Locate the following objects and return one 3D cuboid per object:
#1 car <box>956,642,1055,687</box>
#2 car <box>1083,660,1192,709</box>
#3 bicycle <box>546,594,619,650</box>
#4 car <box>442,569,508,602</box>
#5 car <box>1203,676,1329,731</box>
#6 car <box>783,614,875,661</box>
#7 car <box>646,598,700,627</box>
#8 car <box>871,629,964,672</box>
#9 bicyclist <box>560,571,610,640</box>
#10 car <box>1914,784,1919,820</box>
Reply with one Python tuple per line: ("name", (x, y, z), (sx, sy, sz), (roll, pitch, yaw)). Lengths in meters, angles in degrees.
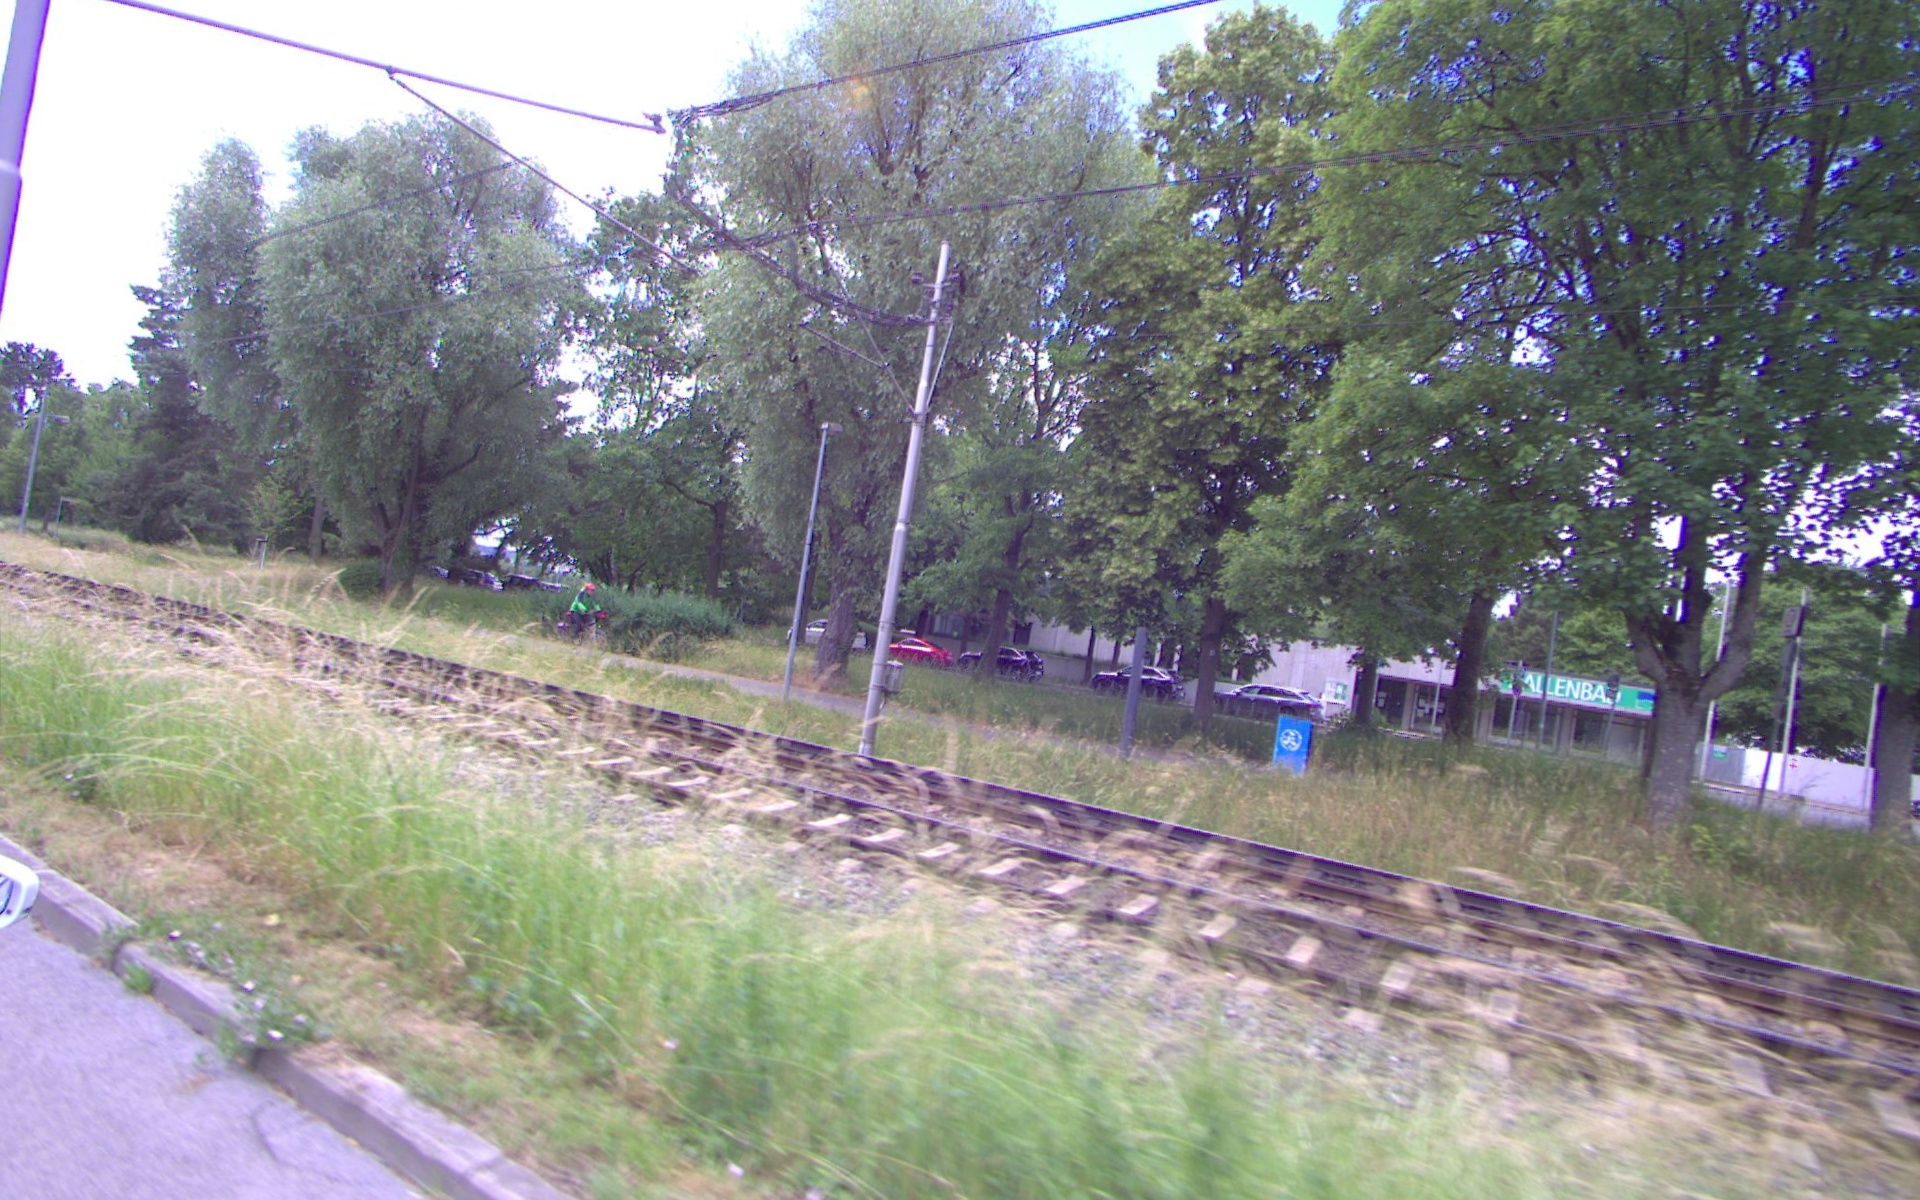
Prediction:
("car", (2.068, 2.933, 45.935), (3.934, 1.458, 1.998), (6, -3, 32))
("car", (7.513, 3.562, 42.639), (3.934, 1.458, 1.998), (6, -3, 32))
("bicycle", (-10.207, 0.599, 27.181), (1.896, 1.260, 0.582), (7, -2, 28))
("car", (-37.282, -1.117, 77.412), (3.924, 1.832, 2.003), (8, -2, 6))
("car", (12.106, 4.090, 39.827), (4.274, 1.458, 1.998), (6, -3, 32))
("car", (-6.709, 1.926, 51.551), (4.159, 1.718, 1.999), (6, -4, 32))
("car", (-24.254, 1.068, 85.125), (3.743, 1.752, 1.834), (8, -3, 7))
("car", (-2.077, 2.446, 48.604), (3.934, 1.458, 1.998), (6, -3, 32))
("bicyclist", (-10.132, 0.148, 27.187), (0.919, 1.715, 0.582), (7, -2, 28))
("car", (44.815, 9.241, 43.678), (4.379, 1.599, 1.982), (7, -2, 15))
